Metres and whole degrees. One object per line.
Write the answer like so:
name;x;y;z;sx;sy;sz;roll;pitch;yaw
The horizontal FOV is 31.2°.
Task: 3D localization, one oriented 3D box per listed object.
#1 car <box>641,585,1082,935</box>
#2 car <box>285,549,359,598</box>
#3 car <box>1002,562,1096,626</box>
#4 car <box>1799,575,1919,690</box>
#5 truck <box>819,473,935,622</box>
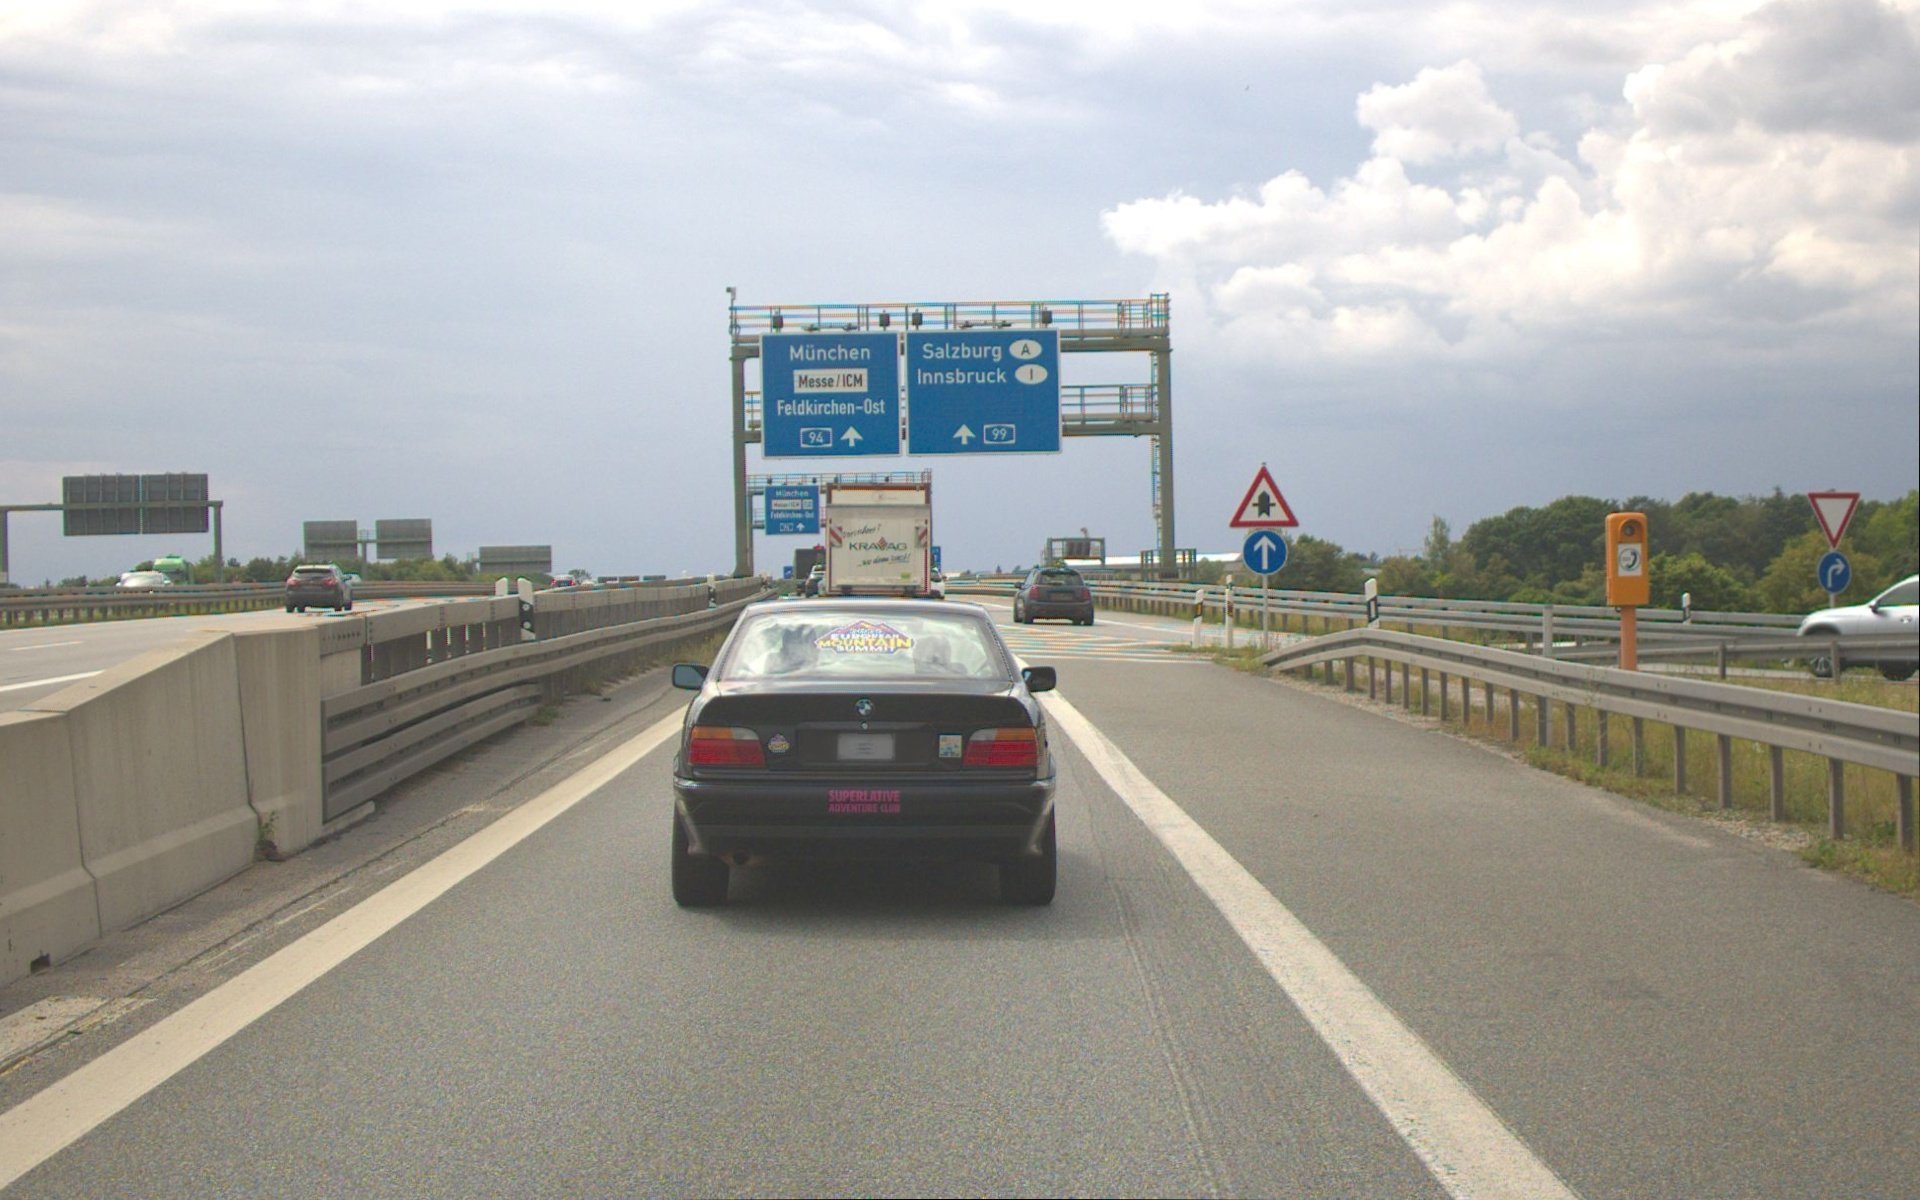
car;-0.399;0.641;16.000;1.782;1.373;4.137;0;1;0
car;-20.992;-0.884;113.190;1.892;1.592;4.418;0;1;-4
car;2.204;-0.159;86.352;1.993;1.547;4.001;1;0;-4
car;14.677;0.483;50.535;1.936;1.679;4.207;1;-1;-39
truck;-1.831;-1.142;74.714;2.404;3.079;6.371;0;1;-2
